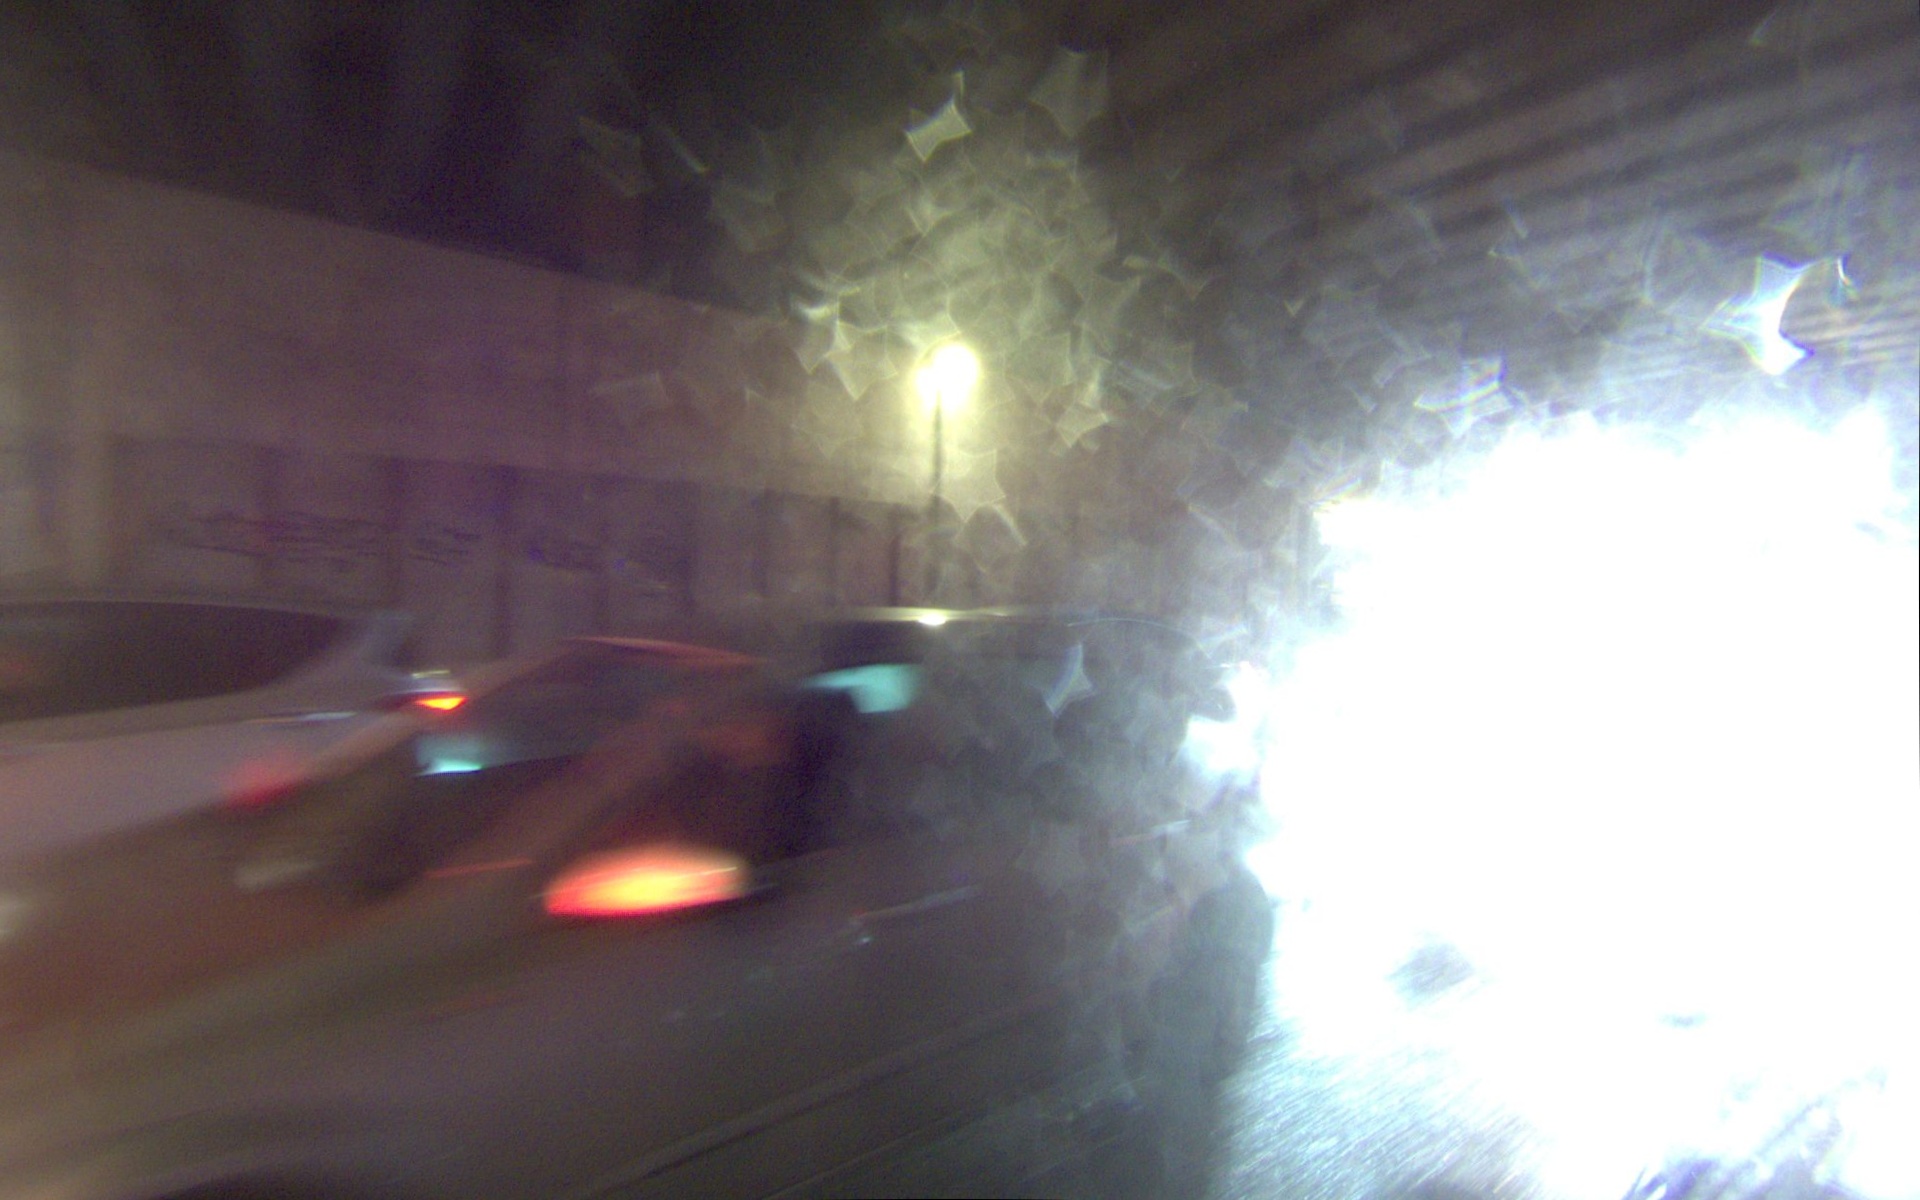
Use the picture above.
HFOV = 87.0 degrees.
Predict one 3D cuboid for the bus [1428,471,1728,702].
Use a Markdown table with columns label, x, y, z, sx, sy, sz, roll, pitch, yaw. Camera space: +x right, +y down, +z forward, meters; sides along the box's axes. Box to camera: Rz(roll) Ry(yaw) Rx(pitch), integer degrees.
| label | x | y | z | sx | sy | sz | roll | pitch | yaw |
| --- | --- | --- | --- | --- | --- | --- | --- | --- | --- |
| bus | 11.906 | -0.257 | 18.916 | 2.734 | 3.318 | 9.545 | 1 | 1 | 44 |

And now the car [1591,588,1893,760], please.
| label | x | y | z | sx | sy | sz | roll | pitch | yaw |
| --- | --- | --- | --- | --- | --- | --- | --- | --- | --- |
| car | 8.466 | 0.665 | 10.833 | 4.089 | 1.506 | 1.722 | 0 | -2 | -41 |

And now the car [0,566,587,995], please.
| label | x | y | z | sx | sy | sz | roll | pitch | yaw |
| --- | --- | --- | --- | --- | --- | --- | --- | --- | --- |
| car | -3.903 | 0.611 | 4.182 | 4.089 | 1.464 | 1.724 | 0 | 3 | -41 |

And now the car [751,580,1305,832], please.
| label | x | y | z | sx | sy | sz | roll | pitch | yaw |
| --- | --- | --- | --- | --- | --- | --- | --- | --- | --- |
| car | 0.797 | 0.623 | 8.358 | 4.703 | 1.505 | 1.723 | 0 | 2 | -41 |

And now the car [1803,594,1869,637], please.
| label | x | y | z | sx | sy | sz | roll | pitch | yaw |
| --- | --- | --- | --- | --- | --- | --- | --- | --- | --- |
| car | 33.803 | 0.539 | 39.142 | 1.748 | 1.464 | 3.918 | 3 | 3 | 39 |

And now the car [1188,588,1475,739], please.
| label | x | y | z | sx | sy | sz | roll | pitch | yaw |
| --- | --- | --- | --- | --- | --- | --- | --- | --- | --- |
| car | 4.731 | 0.639 | 12.581 | 4.094 | 1.505 | 1.722 | -1 | 3 | -44 |

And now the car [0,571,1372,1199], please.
| label | x | y | z | sx | sy | sz | roll | pitch | yaw |
| --- | --- | --- | --- | --- | --- | --- | --- | --- | --- |
| car | -0.707 | 0.676 | 2.777 | 4.089 | 1.464 | 1.723 | 0 | 1 | -41 |

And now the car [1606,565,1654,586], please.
| label | x | y | z | sx | sy | sz | roll | pitch | yaw |
| --- | --- | --- | --- | --- | --- | --- | --- | --- | --- |
| car | 45.636 | -1.676 | 69.036 | 1.686 | 1.407 | 3.977 | 1 | 1 | 18 |

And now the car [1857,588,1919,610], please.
| label | x | y | z | sx | sy | sz | roll | pitch | yaw |
| --- | --- | --- | --- | --- | --- | --- | --- | --- | --- |
| car | 64.157 | -0.084 | 69.826 | 1.879 | 1.407 | 4.806 | 1 | 1 | 22 |

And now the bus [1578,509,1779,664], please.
| label | x | y | z | sx | sy | sz | roll | pitch | yaw |
| --- | --- | --- | --- | --- | --- | --- | --- | --- | --- |
| bus | 18.530 | -0.349 | 25.761 | 2.734 | 3.278 | 9.545 | 1 | 1 | 44 |

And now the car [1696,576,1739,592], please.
| label | x | y | z | sx | sy | sz | roll | pitch | yaw |
| --- | --- | --- | --- | --- | --- | --- | --- | --- | --- |
| car | 70.228 | -1.477 | 93.913 | 1.877 | 1.407 | 4.809 | 1 | 1 | 20 |
